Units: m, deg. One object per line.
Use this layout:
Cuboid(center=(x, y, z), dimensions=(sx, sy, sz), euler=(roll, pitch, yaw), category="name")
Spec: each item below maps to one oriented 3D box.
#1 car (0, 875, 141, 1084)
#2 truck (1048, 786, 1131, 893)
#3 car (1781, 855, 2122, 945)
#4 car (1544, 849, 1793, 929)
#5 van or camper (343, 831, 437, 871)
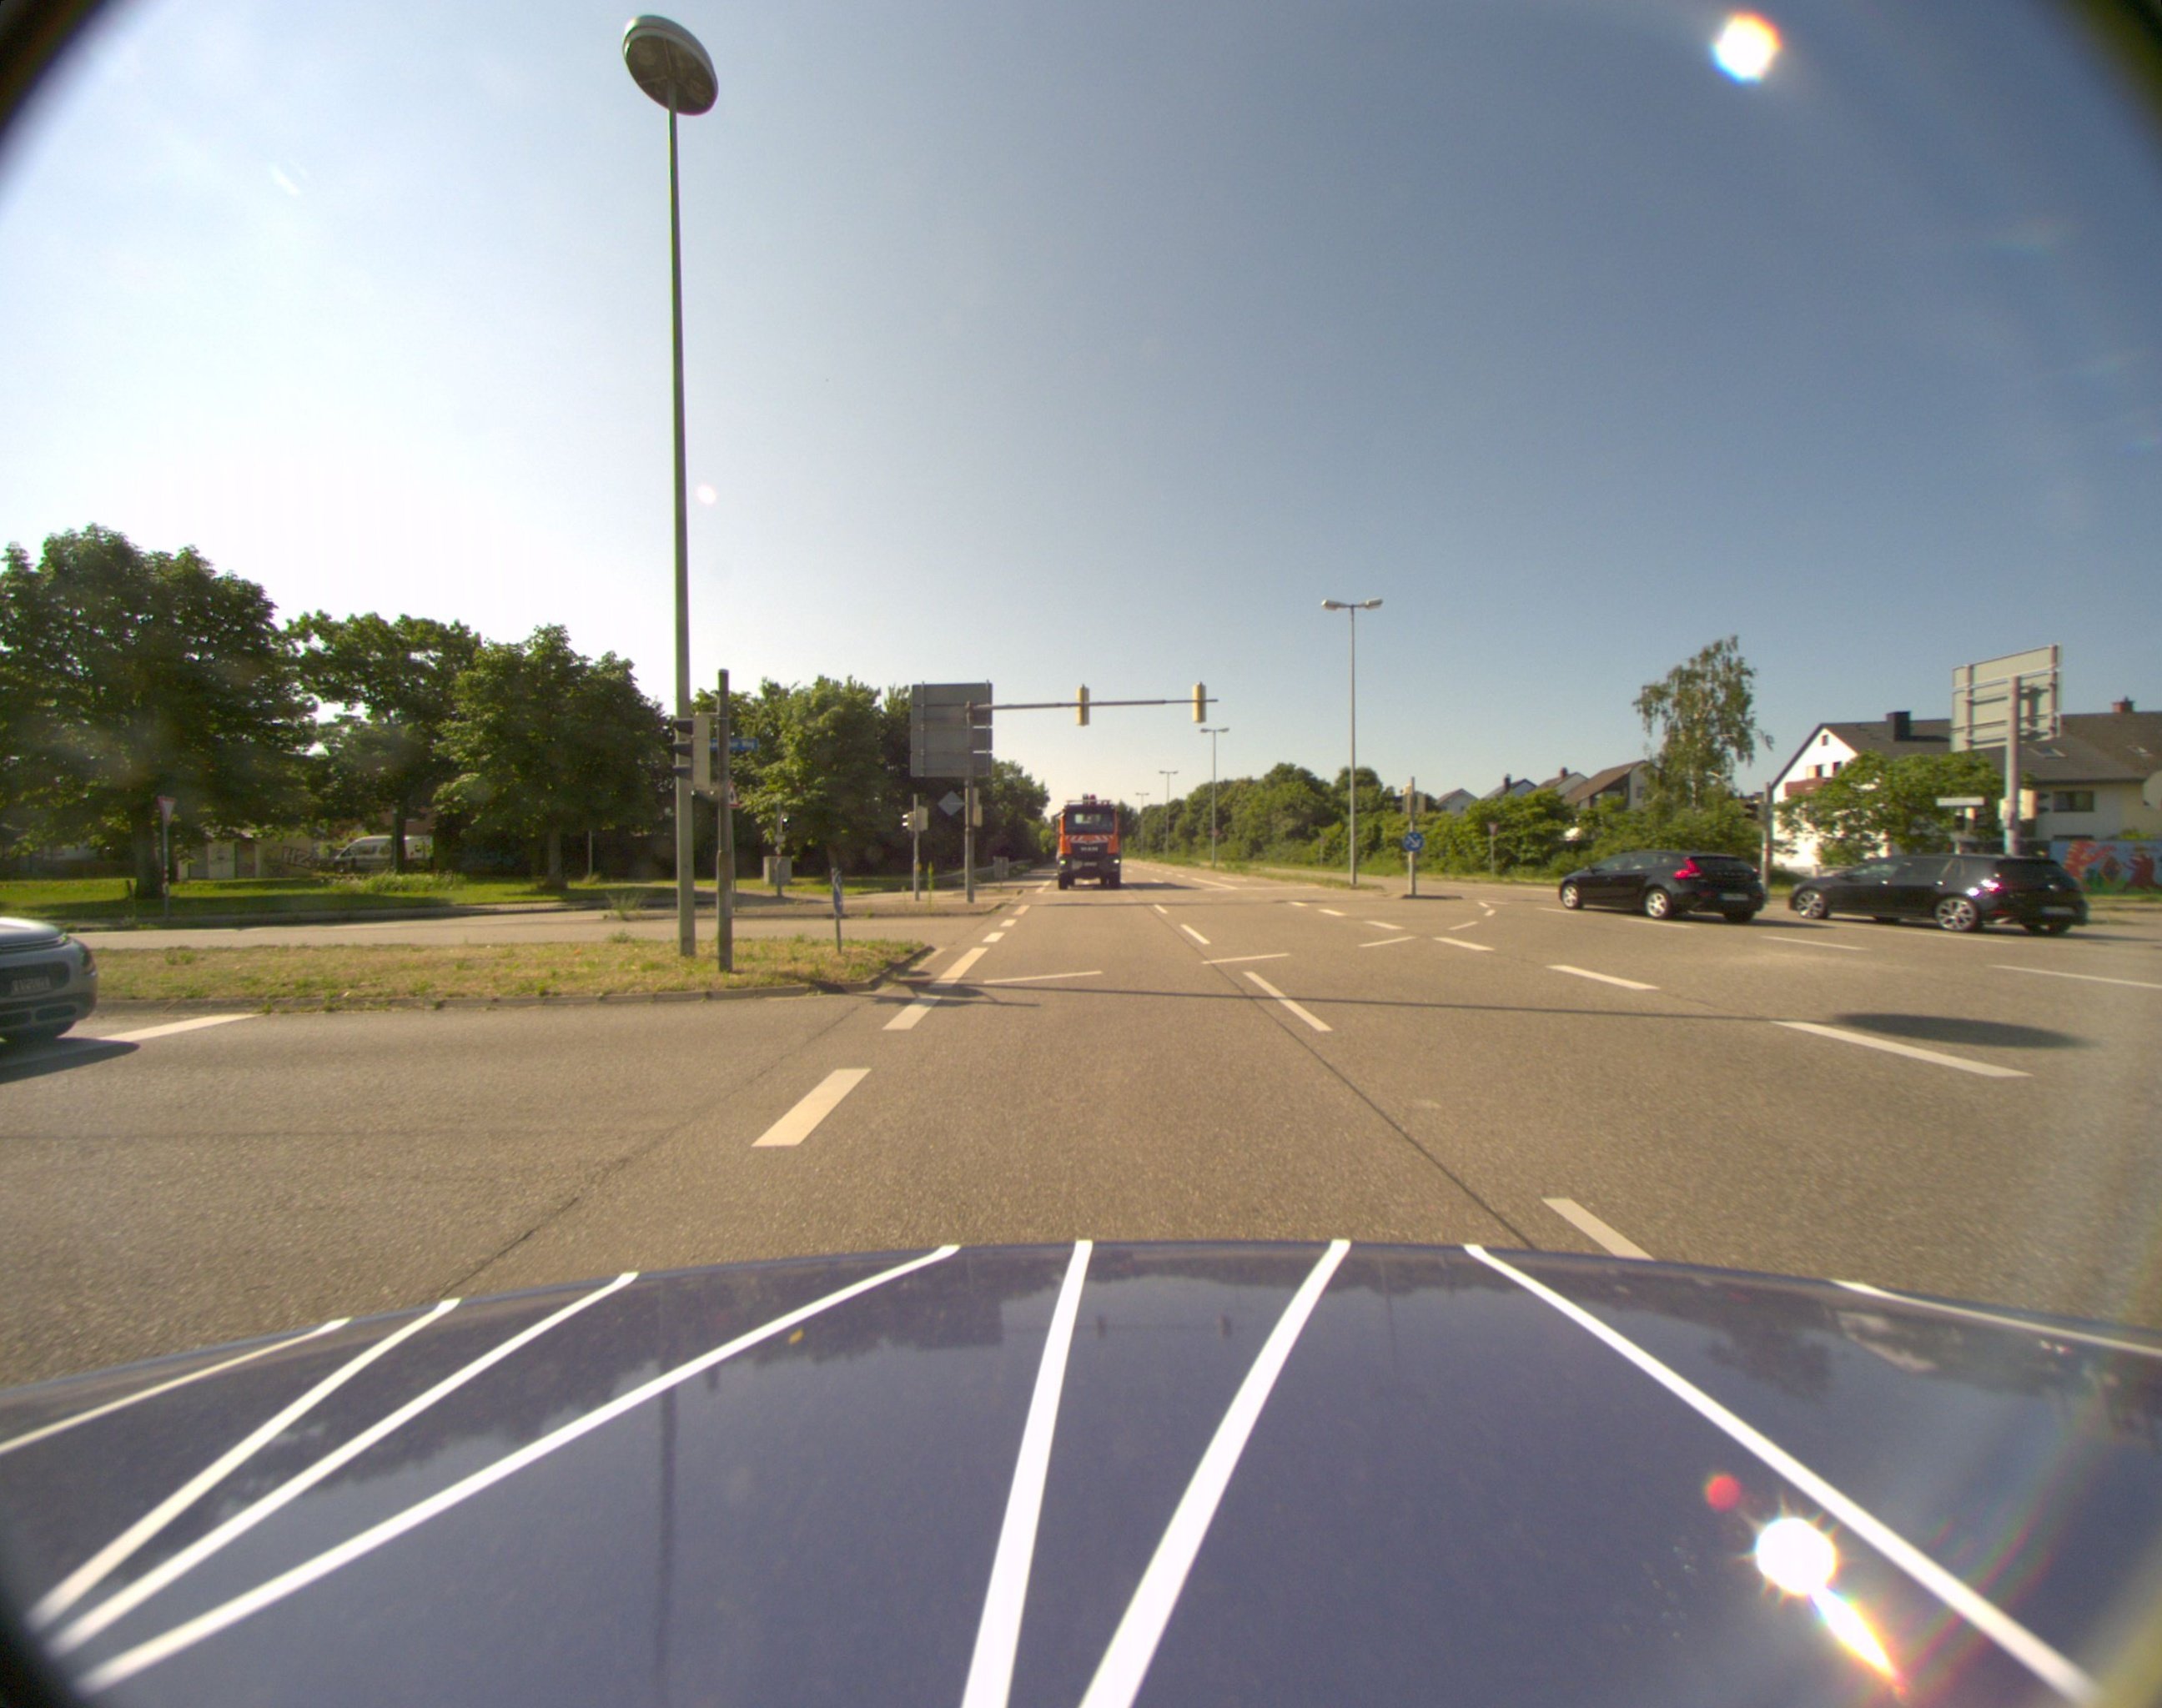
Cuboid(center=(-10.247, 0.984, 5.746), dimensions=(4.062, 1.555, 1.742), euler=(0, 1, 0), category="car")
Cuboid(center=(0.345, -0.606, 31.321), dimensions=(2.940, 3.853, 6.590), euler=(-2, 1, 1), category="truck")
Cuboid(center=(16.456, 0.774, 14.785), dimensions=(1.889, 1.449, 4.229), euler=(0, 1, 3), category="car")
Cuboid(center=(12.285, 0.636, 16.335), dimensions=(1.986, 1.449, 4.331), euler=(0, 1, 0), category="car")
Cuboid(center=(-50.129, -0.233, 55.184), dimensions=(4.812, 2.815, 1.999), euler=(0, 1, -2), category="van or camper")
